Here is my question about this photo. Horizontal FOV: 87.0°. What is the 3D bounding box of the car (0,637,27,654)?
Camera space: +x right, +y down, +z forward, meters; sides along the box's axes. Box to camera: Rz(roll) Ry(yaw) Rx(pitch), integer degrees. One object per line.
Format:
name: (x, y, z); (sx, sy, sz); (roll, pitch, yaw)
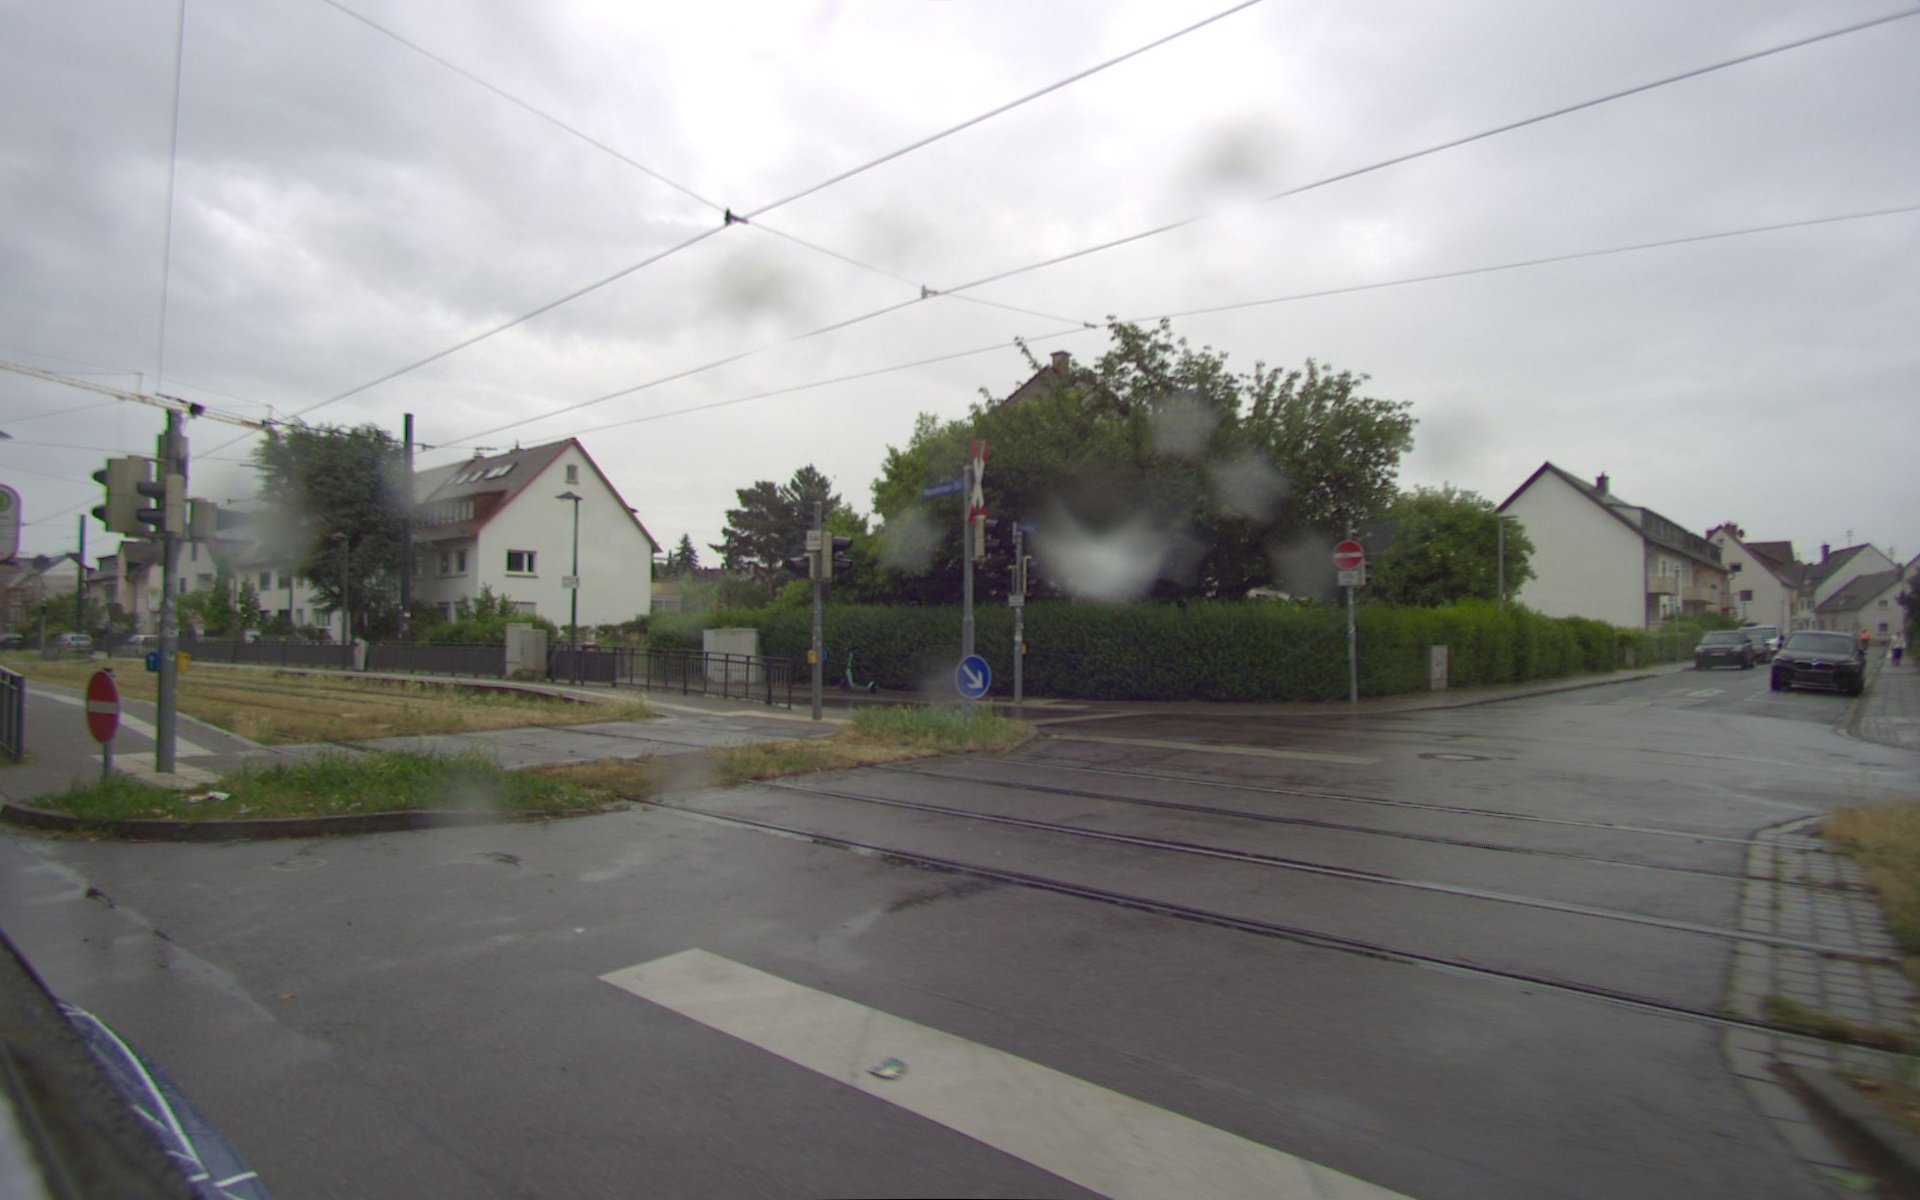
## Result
car: (-82.033, 3.896, 87.051); (4.166, 1.437, 1.820); (-2, -2, 36)

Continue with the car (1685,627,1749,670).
car: (32.465, 2.025, 43.356); (1.998, 1.665, 3.947); (0, -1, 40)

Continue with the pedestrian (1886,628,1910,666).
pedestrian: (45.165, 2.250, 48.746); (0.801, 1.766, 0.883); (-1, -1, 42)

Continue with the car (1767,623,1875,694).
car: (22.664, 1.459, 26.592); (2.000, 1.665, 3.943); (-1, -1, 43)

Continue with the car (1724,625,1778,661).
car: (39.182, 2.084, 50.113); (1.998, 1.665, 3.947); (0, -1, 40)

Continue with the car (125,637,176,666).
car: (-47.164, 2.992, 58.937); (3.998, 1.504, 1.616); (0, -1, 41)

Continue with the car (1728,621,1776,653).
car: (43.433, 2.002, 55.464); (1.998, 1.665, 3.947); (0, -1, 40)

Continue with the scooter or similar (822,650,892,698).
scooter or similar: (-2.589, 1.822, 25.257); (1.865, 1.079, 0.656); (0, -1, 41)

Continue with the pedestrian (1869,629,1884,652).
pedestrian: (67.959, 3.013, 75.069); (0.810, 1.665, 0.824); (-1, -1, 43)
